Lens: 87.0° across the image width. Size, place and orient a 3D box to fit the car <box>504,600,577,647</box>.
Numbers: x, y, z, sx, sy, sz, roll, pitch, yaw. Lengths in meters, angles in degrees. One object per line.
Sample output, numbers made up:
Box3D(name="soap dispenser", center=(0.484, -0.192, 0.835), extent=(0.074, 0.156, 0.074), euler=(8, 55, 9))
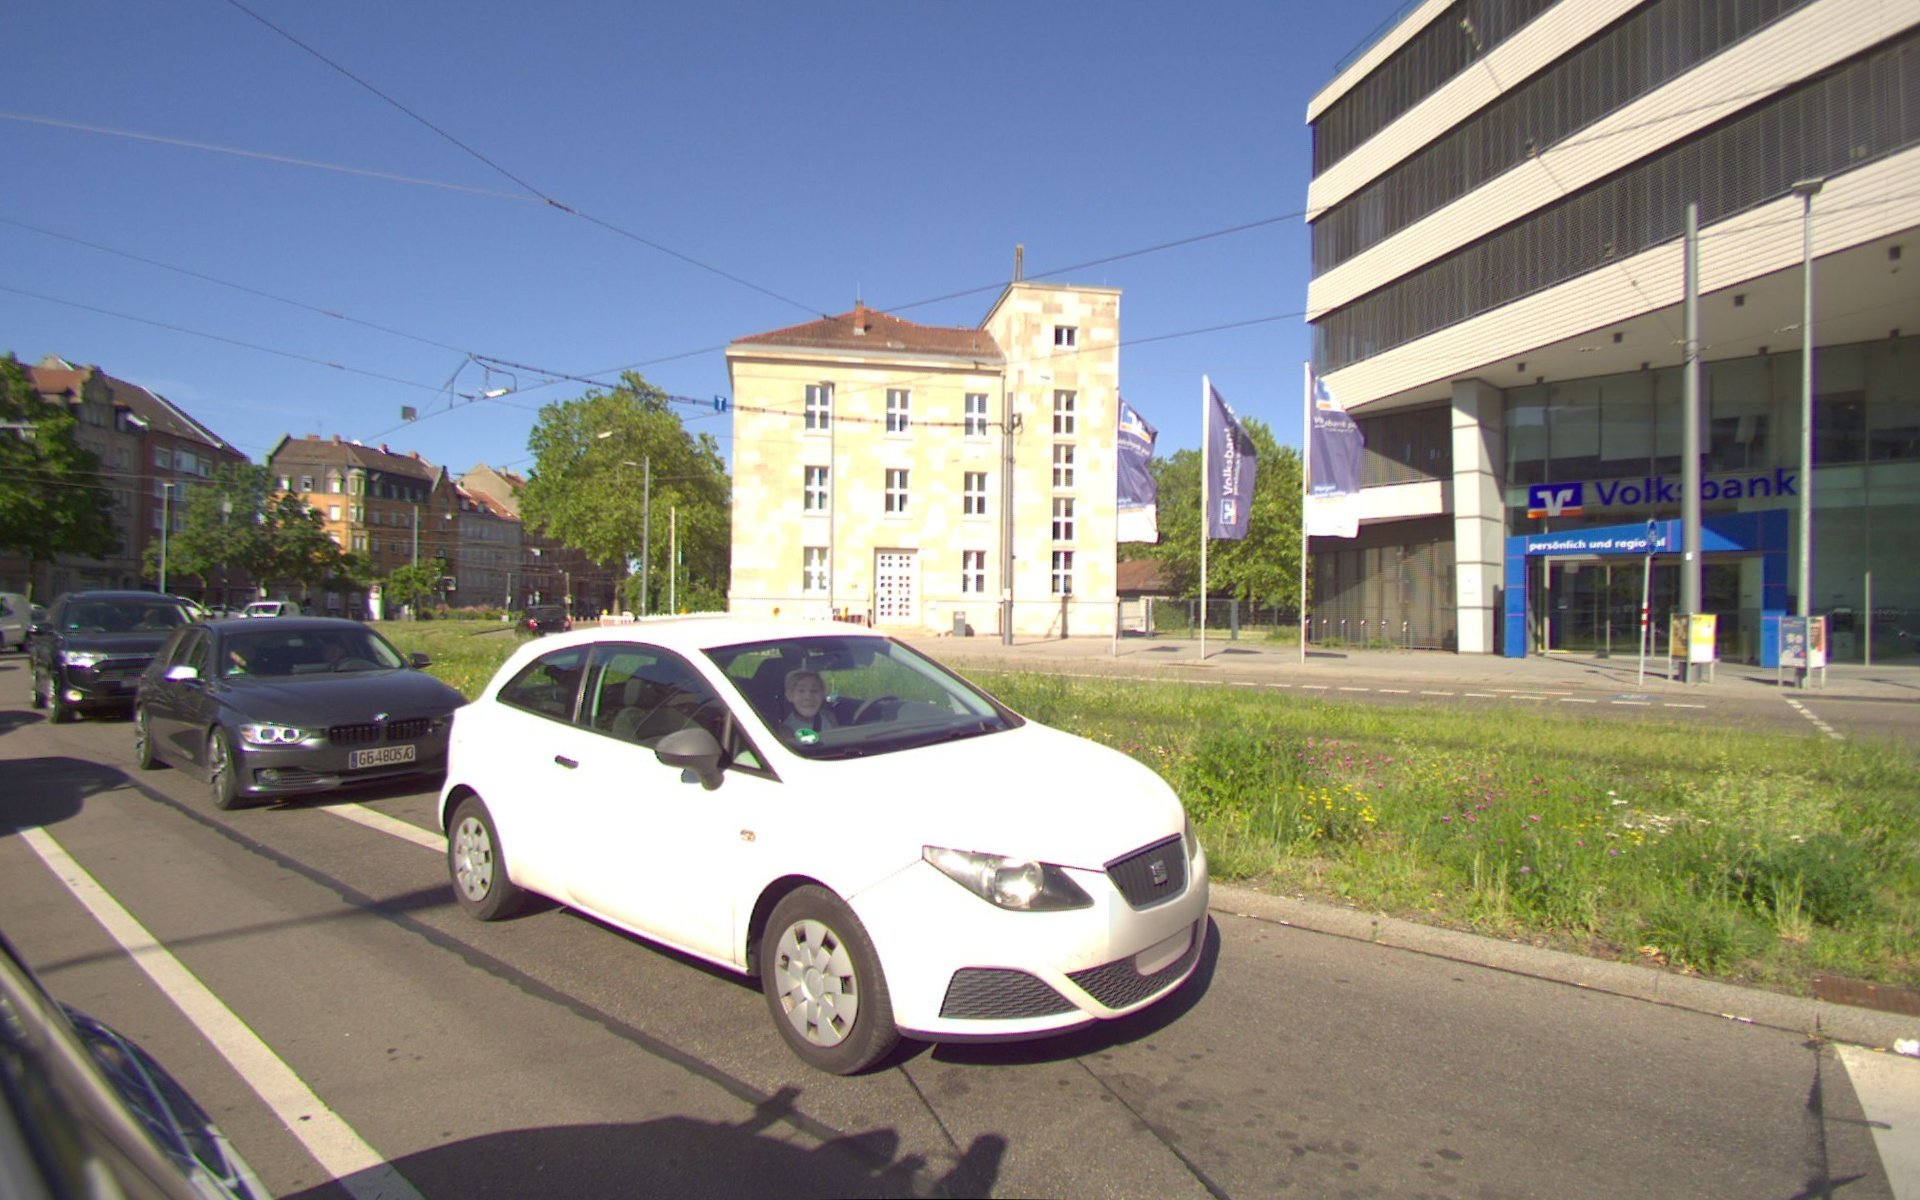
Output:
Box3D(name="car", center=(-16.520, 0.896, 39.774), extent=(1.741, 1.763, 4.009), euler=(1, -1, -36))

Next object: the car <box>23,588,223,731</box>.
Box3D(name="car", center=(-11.826, 0.712, 14.193), extent=(4.329, 1.697, 1.744), euler=(0, 0, 45))

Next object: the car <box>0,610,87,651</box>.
Box3D(name="car", center=(-34.768, 1.128, 38.144), extent=(1.842, 1.458, 3.921), euler=(1, -1, -26))

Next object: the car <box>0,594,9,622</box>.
Box3D(name="car", center=(-53.909, 0.414, 54.027), extent=(4.329, 1.472, 2.004), euler=(1, -1, -37))

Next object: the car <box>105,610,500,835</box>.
Box3D(name="car", center=(-5.886, 0.822, 8.804), extent=(4.483, 1.441, 1.816), euler=(0, 0, 42))

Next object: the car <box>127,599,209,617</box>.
Box3D(name="car", center=(-56.240, 0.603, 71.915), extent=(2.000, 1.219, 4.339), euler=(0, -1, 43))

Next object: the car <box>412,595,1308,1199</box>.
Box3D(name="car", center=(-0.708, 0.742, 4.362), extent=(3.834, 1.441, 1.647), euler=(0, 2, 41))

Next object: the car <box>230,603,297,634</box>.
Box3D(name="car", center=(-36.816, 0.991, 53.614), extent=(1.843, 1.568, 4.012), euler=(1, -1, -18))

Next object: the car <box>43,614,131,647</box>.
Box3D(name="car", center=(-38.502, 1.323, 44.754), extent=(1.799, 1.395, 4.670), euler=(1, -1, -26))

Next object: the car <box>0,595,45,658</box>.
Box3D(name="car", center=(-31.848, 0.833, 32.926), extent=(1.842, 1.997, 4.670), euler=(1, -1, -26))
